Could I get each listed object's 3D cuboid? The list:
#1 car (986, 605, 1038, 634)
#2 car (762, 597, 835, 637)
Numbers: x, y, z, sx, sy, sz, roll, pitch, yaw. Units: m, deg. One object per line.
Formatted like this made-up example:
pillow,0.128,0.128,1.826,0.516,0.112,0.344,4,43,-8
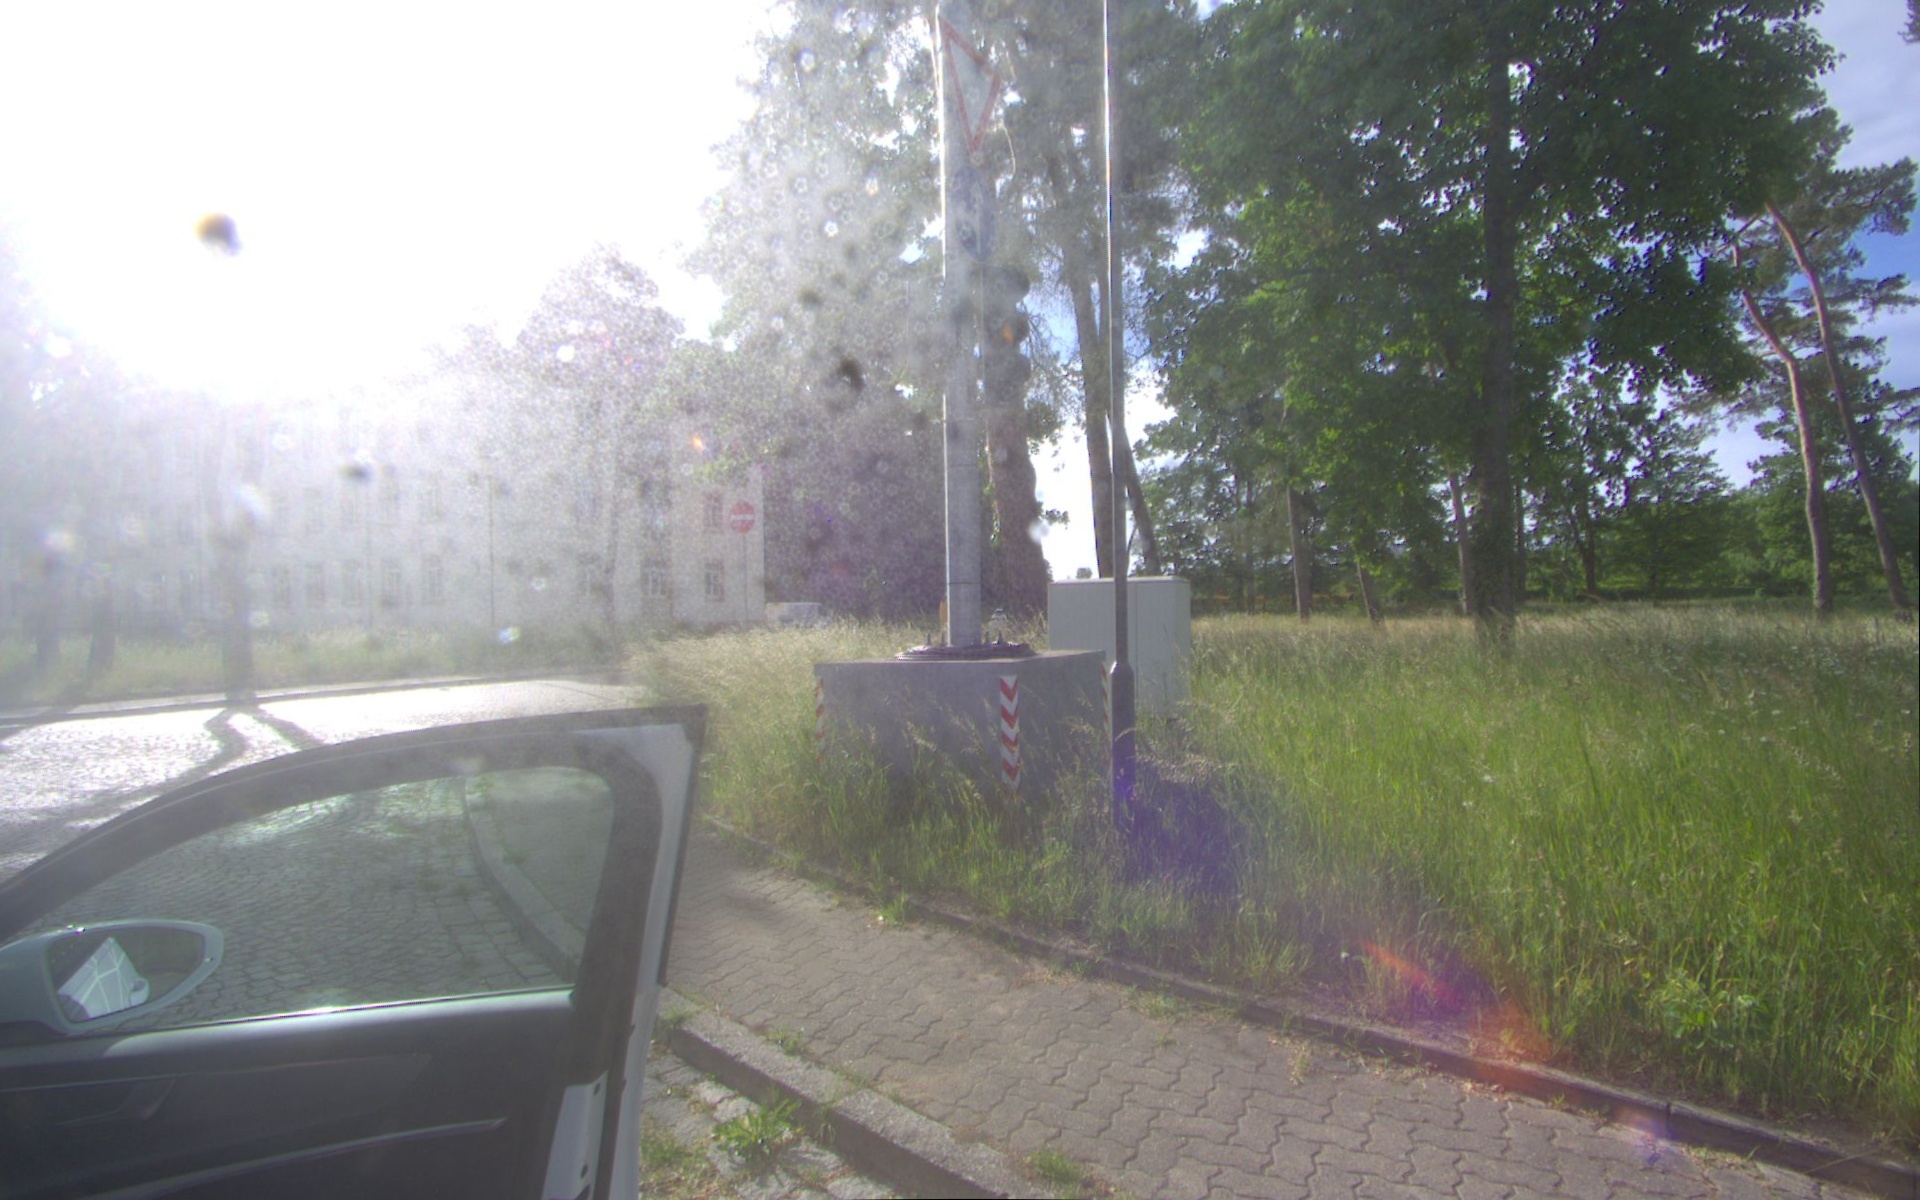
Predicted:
car,3.246,1.159,61.715,1.827,1.701,3.932,-1,-1,25
car,-11.013,1.156,68.659,2.230,2.568,5.153,-1,-1,29
